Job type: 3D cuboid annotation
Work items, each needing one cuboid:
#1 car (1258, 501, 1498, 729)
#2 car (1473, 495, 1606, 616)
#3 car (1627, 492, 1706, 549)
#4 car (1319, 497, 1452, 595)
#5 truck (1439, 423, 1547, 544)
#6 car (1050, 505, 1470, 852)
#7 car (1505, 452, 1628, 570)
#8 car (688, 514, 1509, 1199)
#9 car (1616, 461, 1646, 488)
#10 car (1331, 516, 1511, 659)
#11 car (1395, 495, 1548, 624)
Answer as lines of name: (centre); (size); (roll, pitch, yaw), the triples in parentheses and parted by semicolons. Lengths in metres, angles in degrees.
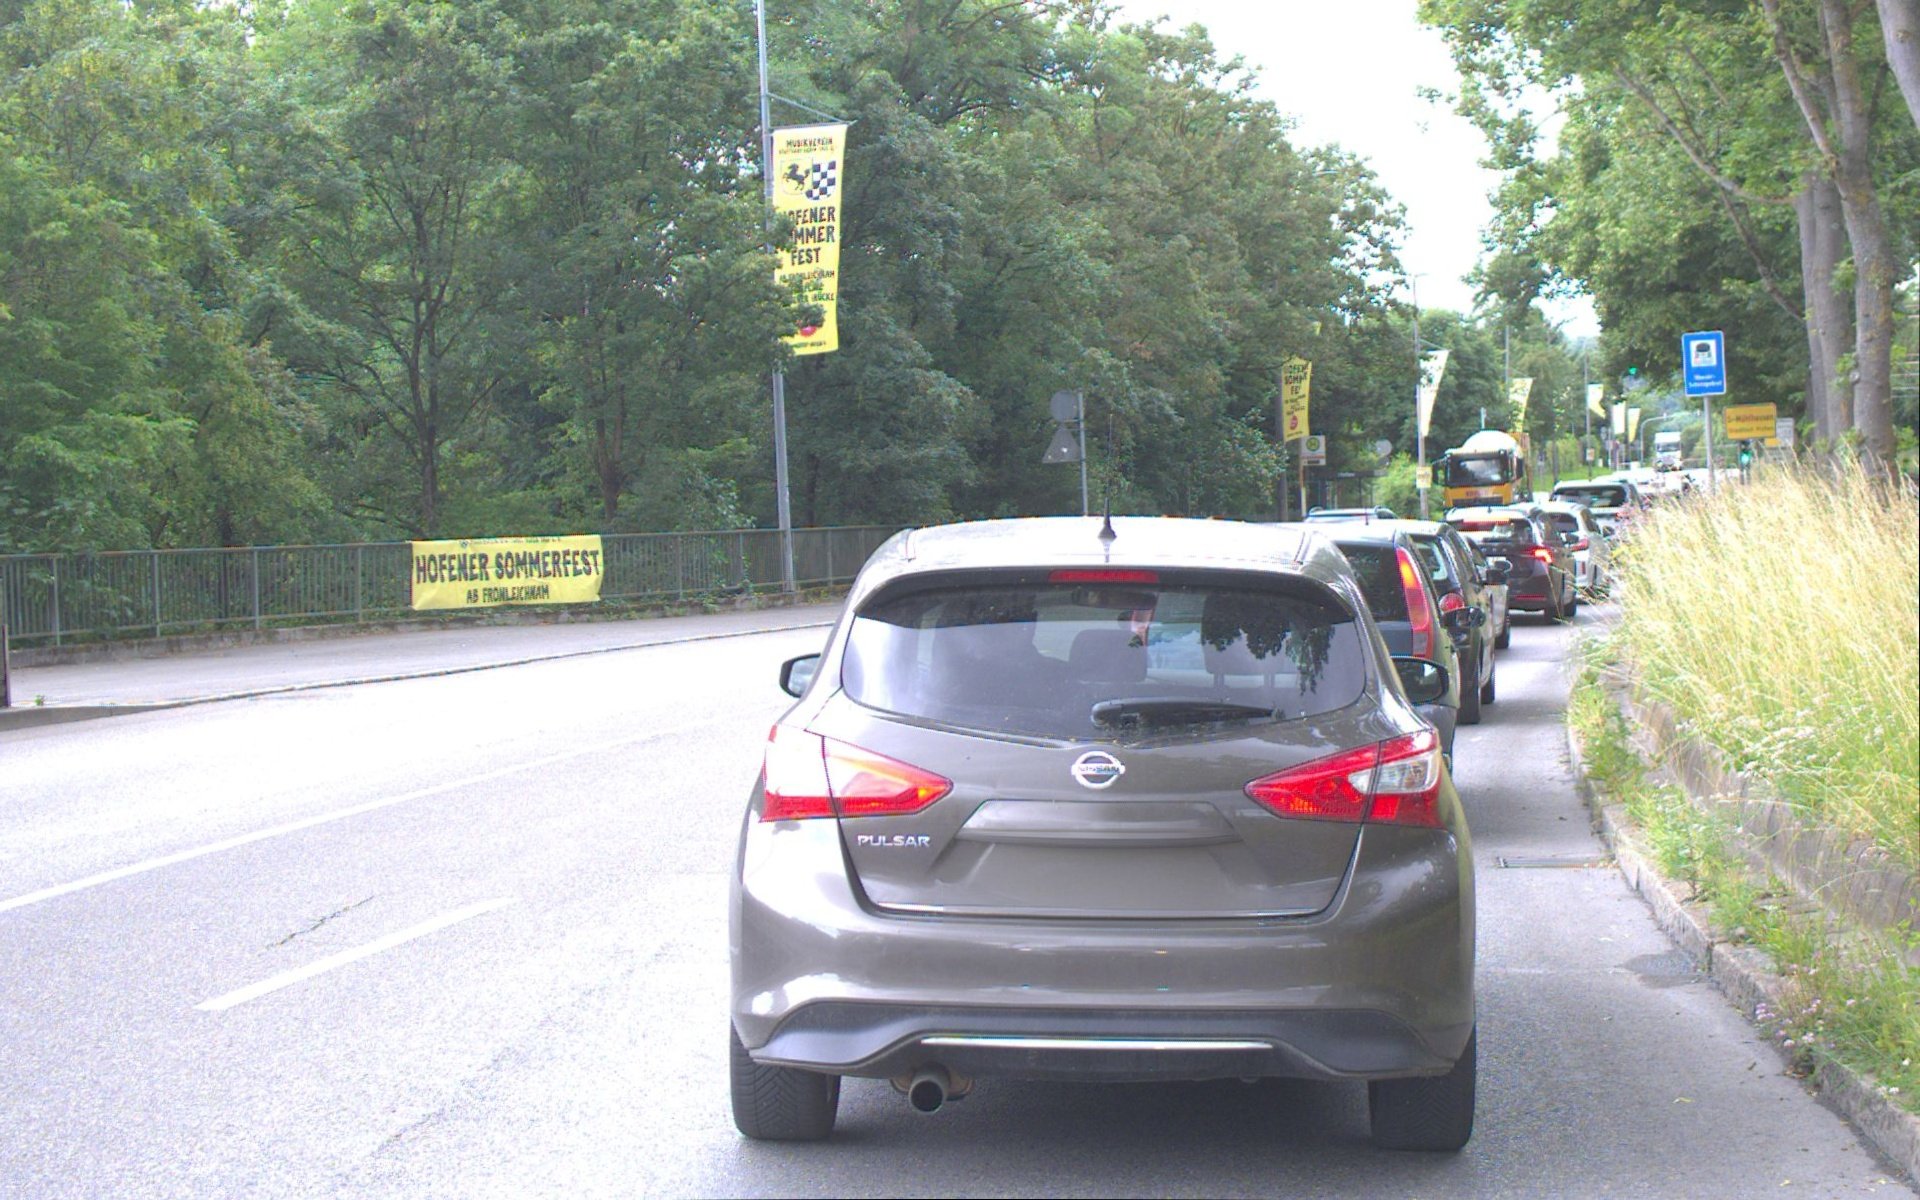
car: (3.200, 0.080, 25.777); (1.578, 1.533, 3.999); (-2, 1, 9)
car: (8.688, -0.627, 51.371); (1.719, 1.687, 3.998); (-2, -1, 12)
car: (18.565, -2.087, 90.220); (1.892, 1.440, 3.805); (-1, 1, 14)
car: (6.947, -0.856, 55.784); (1.852, 1.481, 4.419); (-1, 0, 11)
truck: (18.209, -3.918, 116.978); (2.656, 3.925, 10.105); (0, 1, 14)
car: (1.572, 0.351, 17.637); (1.893, 1.568, 3.999); (0, 0, 6)
car: (10.905, -1.591, 61.647); (1.892, 2.007, 3.998); (-1, 1, 14)
car: (0.461, 0.551, 9.465); (1.775, 1.489, 3.999); (0, 0, 5)
car: (42.034, -7.844, 215.281); (1.753, 1.415, 3.998); (-2, -1, 12)
car: (4.801, -0.151, 35.517); (1.501, 1.359, 3.585); (-2, 1, 13)
car: (6.481, -0.513, 43.319); (1.805, 1.535, 3.998); (1, 1, 10)
